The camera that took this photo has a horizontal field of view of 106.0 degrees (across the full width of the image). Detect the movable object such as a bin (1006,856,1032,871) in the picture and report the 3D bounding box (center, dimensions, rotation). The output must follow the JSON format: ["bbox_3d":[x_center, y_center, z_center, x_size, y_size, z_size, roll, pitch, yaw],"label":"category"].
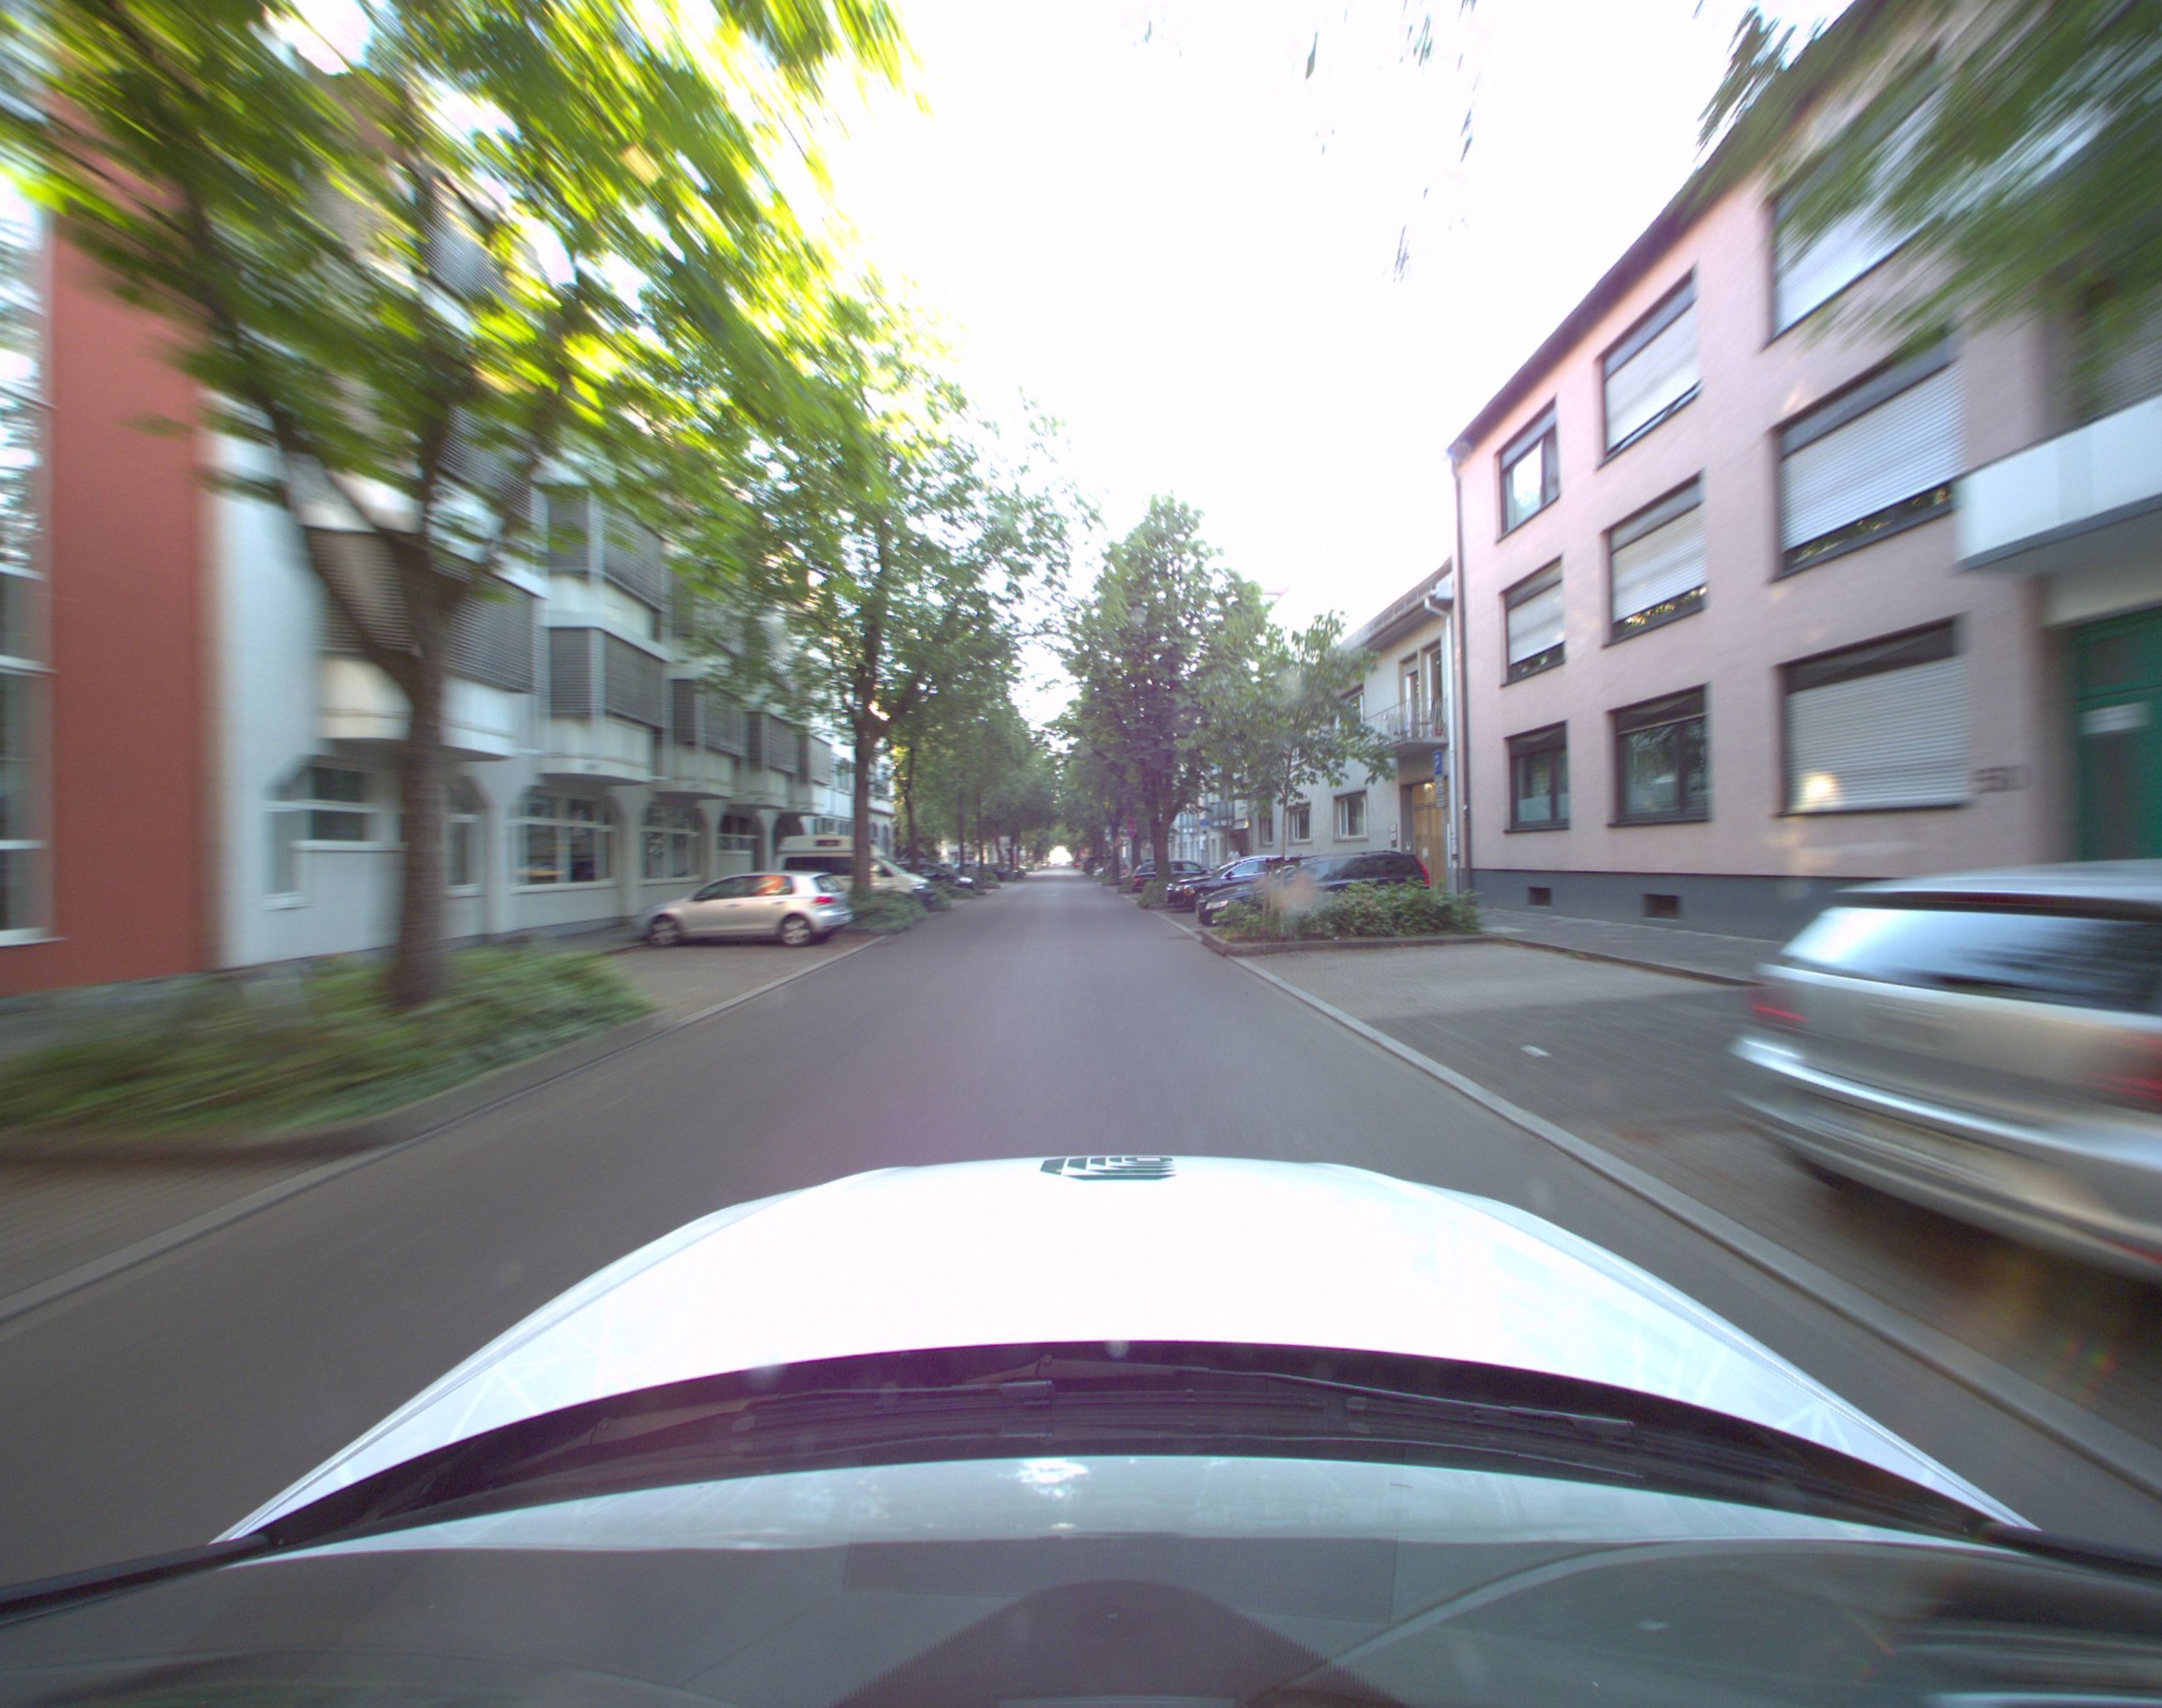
[{"bbox_3d":[-10.045,1.493,130.892,4.043,2.383,2.777,-1,0,-8],"label":"movable object such as a bin"}]

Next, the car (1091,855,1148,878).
[{"bbox_3d":[3.338,1.090,70.695,4.636,1.617,2.006,-4,0,-6],"label":"car"}]

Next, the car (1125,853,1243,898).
[{"bbox_3d":[3.996,0.842,32.275,4.441,1.427,2.012,-4,-1,2],"label":"car"}]

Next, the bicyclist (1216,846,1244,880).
[{"bbox_3d":[7.074,0.426,38.777,0.970,1.604,1.132,-1,-1,-9],"label":"bicyclist"}]

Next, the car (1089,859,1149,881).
[{"bbox_3d":[3.042,1.268,65.400,4.589,1.468,1.794,-4,-1,-3],"label":"car"}]

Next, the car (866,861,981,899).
[{"bbox_3d":[-7.174,1.163,37.403,4.839,1.622,2.159,-1,-1,-1],"label":"car"}]

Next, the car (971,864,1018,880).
[{"bbox_3d":[-8.187,1.712,77.221,4.276,1.430,1.878,-1,-1,-2],"label":"car"}]

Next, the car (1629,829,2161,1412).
[{"bbox_3d":[4.714,0.658,3.161,4.075,1.490,1.795,-1,-1,-5],"label":"car"}]

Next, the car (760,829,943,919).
[{"bbox_3d":[-6.928,0.585,25.004,4.990,2.573,2.119,-1,0,-2],"label":"car"}]

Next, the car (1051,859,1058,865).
[{"bbox_3d":[-7.662,2.323,239.239,2.005,1.613,4.115,0,0,-3],"label":"car"}]

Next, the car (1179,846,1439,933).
[{"bbox_3d":[4.591,0.698,16.983,4.824,1.448,2.042,-3,-1,0],"label":"car"}]

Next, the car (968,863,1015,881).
[{"bbox_3d":[-8.212,1.625,74.593,3.970,1.566,1.931,-1,-1,3],"label":"car"}]

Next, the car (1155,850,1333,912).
[{"bbox_3d":[4.601,0.752,23.449,4.664,1.388,2.000,-4,-1,-1],"label":"car"}]

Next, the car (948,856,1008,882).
[{"bbox_3d":[-8.103,1.166,64.334,4.495,1.955,1.997,-1,-1,-4],"label":"car"}]

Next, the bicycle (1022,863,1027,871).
[{"bbox_3d":[-8.084,1.864,116.428,0.682,1.152,1.976,-1,0,-7],"label":"bicycle"}]

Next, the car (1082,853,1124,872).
[{"bbox_3d":[2.437,0.965,91.447,4.590,2.066,2.195,-1,-1,-3],"label":"car"}]

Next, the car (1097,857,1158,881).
[{"bbox_3d":[3.374,1.092,59.499,4.080,1.451,1.930,-4,0,-7],"label":"car"}]

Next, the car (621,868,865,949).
[{"bbox_3d":[-6.805,1.076,16.766,4.156,1.468,1.952,-1,-1,-1],"label":"car"}]

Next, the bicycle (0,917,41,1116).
[{"bbox_3d":[-7.428,0.999,4.618,1.957,1.176,0.654,-1,-1,-9],"label":"bicycle"}]

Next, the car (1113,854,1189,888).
[{"bbox_3d":[3.879,0.927,45.469,3.960,1.585,1.914,-4,-1,-3],"label":"car"}]

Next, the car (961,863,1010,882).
[{"bbox_3d":[-8.136,1.566,69.549,3.978,1.464,1.920,-1,-1,-4],"label":"car"}]

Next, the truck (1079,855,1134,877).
[{"bbox_3d":[2.726,1.280,88.710,5.871,2.311,2.211,-1,-1,-2],"label":"truck"}]

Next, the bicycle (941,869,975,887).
[{"bbox_3d":[-5.988,1.170,39.575,1.547,0.830,0.613,-1,-1,1],"label":"bicycle"}]

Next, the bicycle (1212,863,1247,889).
[{"bbox_3d":[6.978,1.031,38.527,0.620,1.164,3.392,-1,-1,-7],"label":"bicycle"}]
